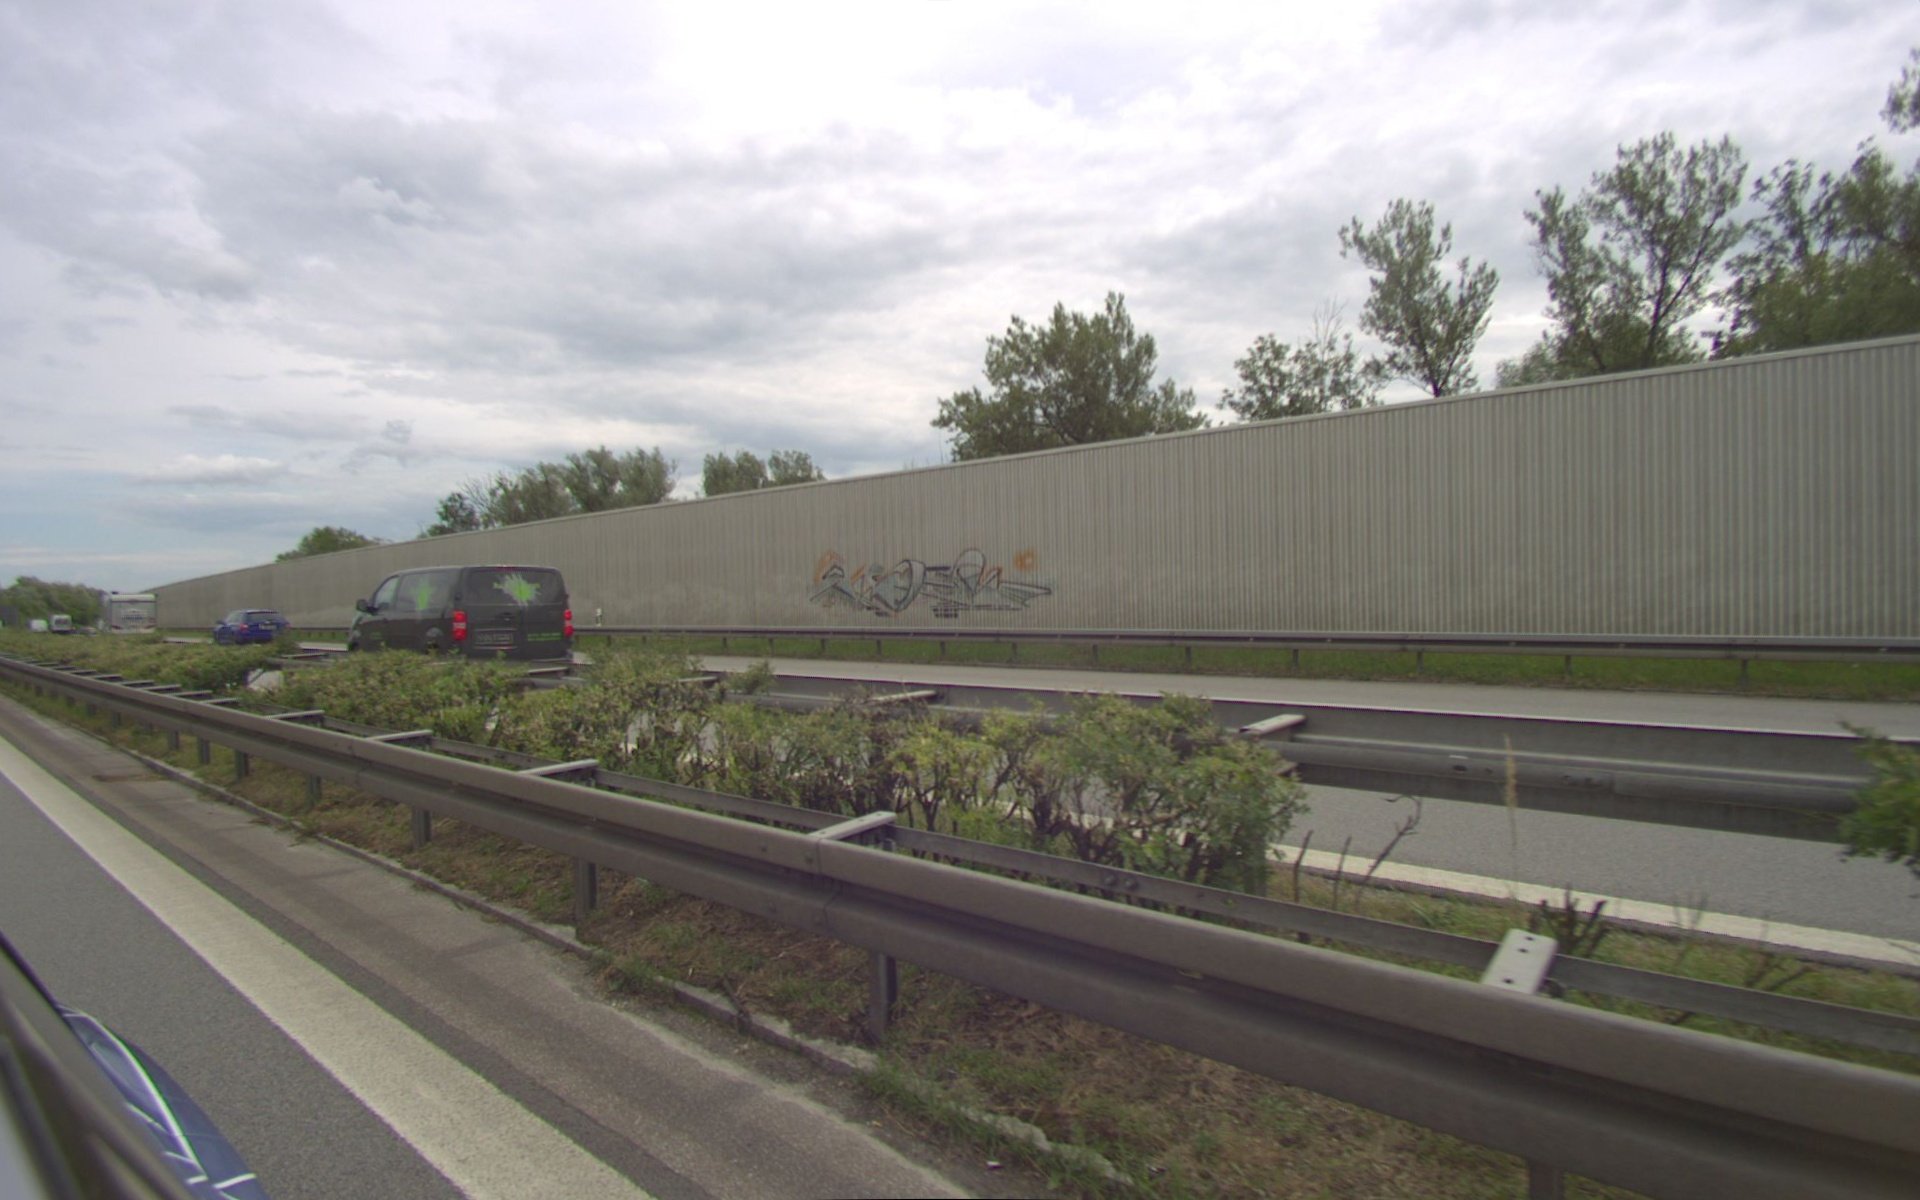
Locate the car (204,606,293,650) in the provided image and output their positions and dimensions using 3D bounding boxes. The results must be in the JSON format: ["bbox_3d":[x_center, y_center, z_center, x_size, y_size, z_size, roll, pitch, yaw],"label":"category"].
[{"bbox_3d":[-26.857,1.032,38.159,4.515,1.558,1.792,-1,-1,42],"label":"car"}]

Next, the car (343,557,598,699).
[{"bbox_3d":[-7.735,0.410,15.791,4.553,1.900,1.973,-2,-1,41],"label":"car"}]

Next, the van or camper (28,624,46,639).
[{"bbox_3d":[-156.285,5.294,171.306,6.311,2.460,1.971,-2,-2,45],"label":"van or camper"}]

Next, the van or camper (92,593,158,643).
[{"bbox_3d":[-49.289,1.061,59.666,5.755,2.800,2.230,-1,0,43],"label":"van or camper"}]

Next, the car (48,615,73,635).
[{"bbox_3d":[-114.866,3.189,129.214,2.087,2.474,5.687,0,-2,-44],"label":"car"}]
